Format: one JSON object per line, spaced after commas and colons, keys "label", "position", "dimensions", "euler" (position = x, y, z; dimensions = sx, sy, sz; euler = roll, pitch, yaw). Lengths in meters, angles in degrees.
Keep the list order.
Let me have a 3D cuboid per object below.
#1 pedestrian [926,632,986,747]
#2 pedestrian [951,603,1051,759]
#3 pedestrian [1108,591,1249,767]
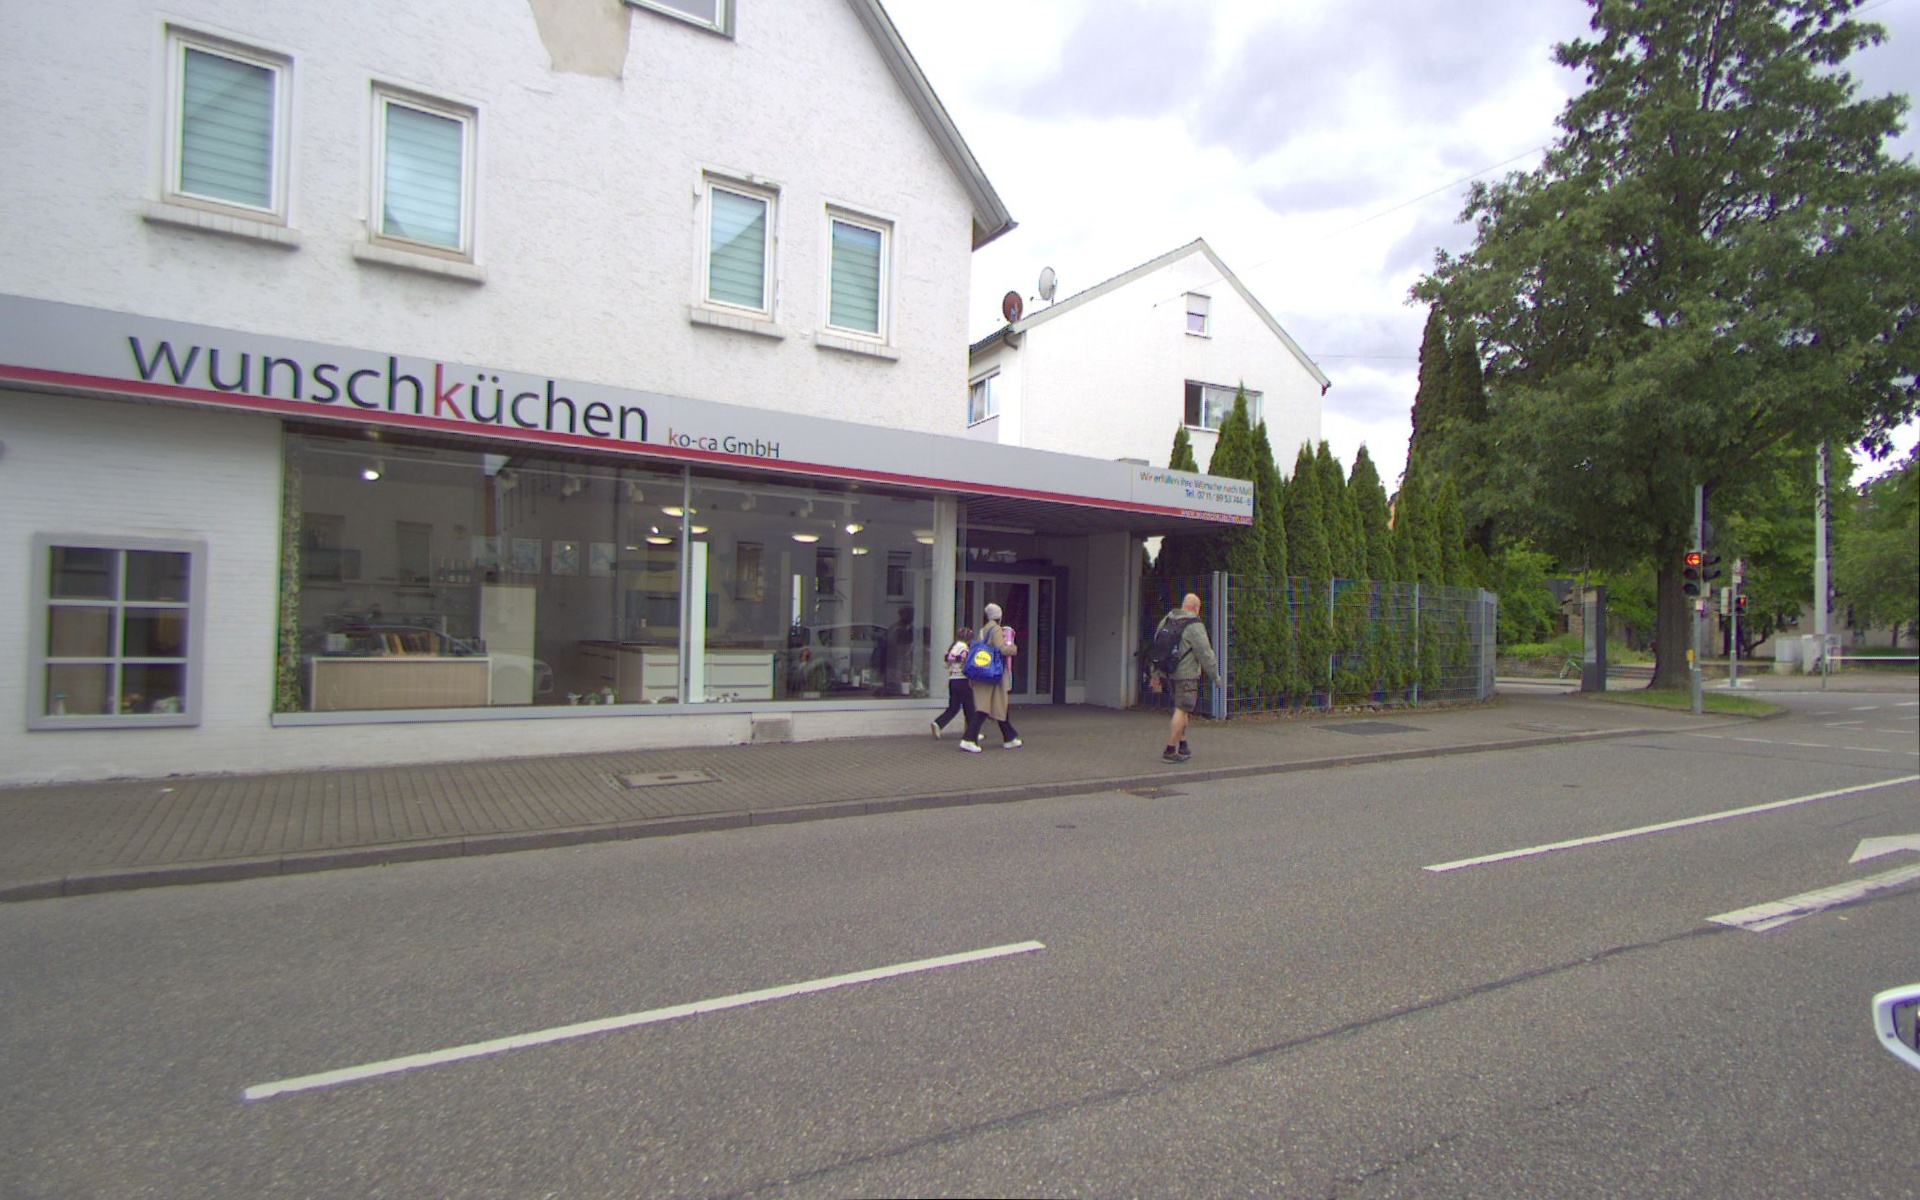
{"label": "pedestrian", "position": [-0.049, 1.018, 11.627], "dimensions": [0.546, 1.278, 0.378], "euler": [2, 0, -41]}
{"label": "pedestrian", "position": [0.458, 0.866, 11.070], "dimensions": [0.860, 1.627, 0.634], "euler": [2, 0, -41]}
{"label": "pedestrian", "position": [2.361, 0.817, 10.864], "dimensions": [1.215, 1.777, 0.817], "euler": [2, 0, -30]}
